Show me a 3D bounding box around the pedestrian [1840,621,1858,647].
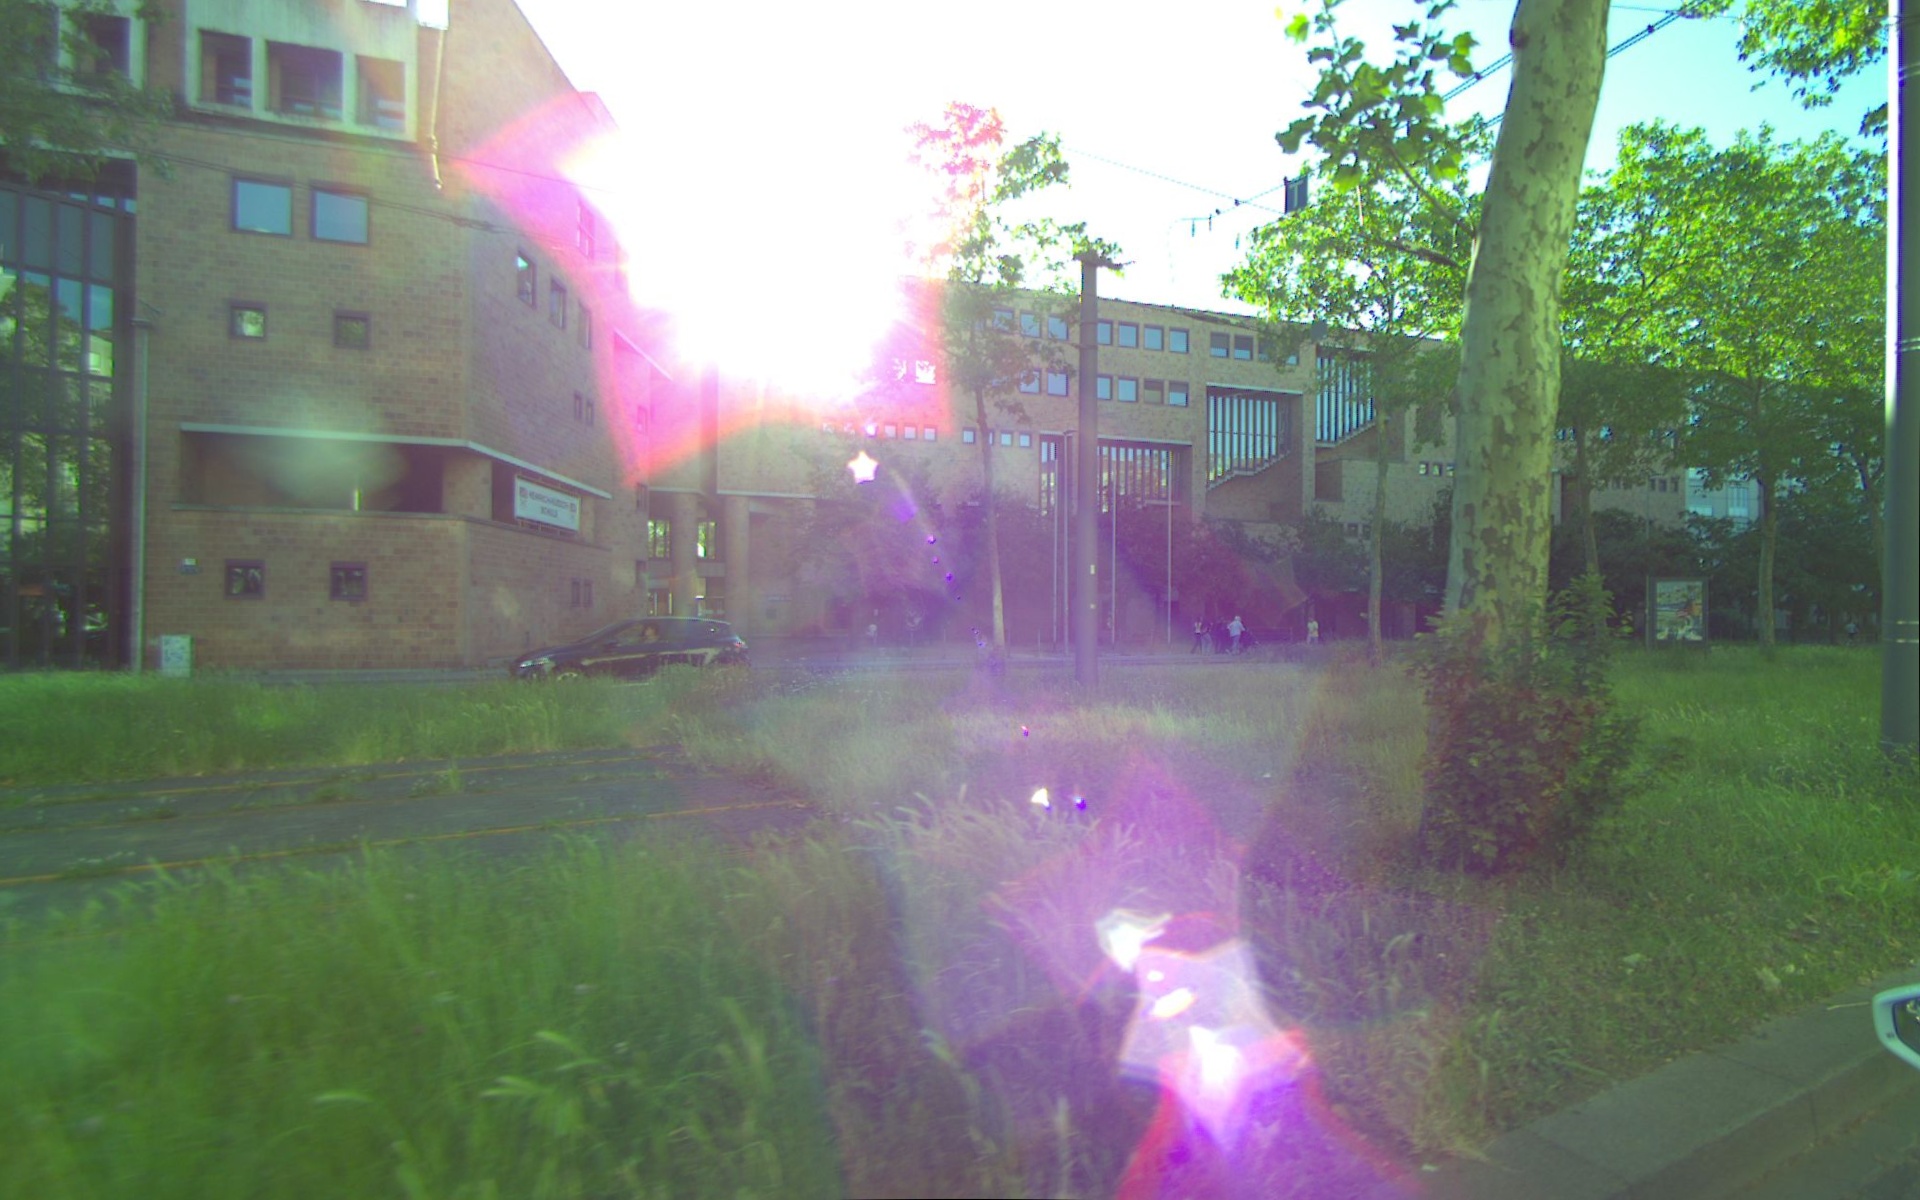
[{"bbox_3d":[59.792,2.283,67.548,0.639,1.763,0.726,1,-1,-25],"label":"pedestrian"}]

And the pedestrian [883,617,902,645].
[{"bbox_3d":[-3.073,1.407,45.816,0.741,1.267,0.666,0,-1,3],"label":"pedestrian"}]

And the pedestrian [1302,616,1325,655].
[{"bbox_3d":[15.265,1.520,43.395,0.750,1.638,0.659,1,-1,-38],"label":"pedestrian"}]

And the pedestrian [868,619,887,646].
[{"bbox_3d":[-3.832,1.510,46.464,0.625,1.214,0.659,1,-1,-38],"label":"pedestrian"}]

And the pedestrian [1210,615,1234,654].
[{"bbox_3d":[11.139,1.443,42.652,0.747,1.638,0.661,1,-1,-30],"label":"pedestrian"}]

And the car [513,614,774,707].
[{"bbox_3d":[-5.463,0.987,17.467,4.101,1.448,1.605,1,-1,-30],"label":"car"}]

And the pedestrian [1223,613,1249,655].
[{"bbox_3d":[11.539,1.428,42.018,0.787,1.745,0.661,1,-1,-30],"label":"pedestrian"}]

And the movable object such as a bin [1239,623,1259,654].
[{"bbox_3d":[12.204,1.629,42.411,0.747,1.296,0.354,1,-1,-30],"label":"movable object such as a bin"}]

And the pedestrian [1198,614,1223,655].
[{"bbox_3d":[10.266,1.413,41.128,0.747,1.638,0.661,1,-1,-30],"label":"pedestrian"}]

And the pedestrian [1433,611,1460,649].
[{"bbox_3d":[24.125,1.501,49.773,0.888,1.856,0.822,1,0,-24],"label":"pedestrian"}]

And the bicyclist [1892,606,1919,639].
[{"bbox_3d":[46.383,1.100,49.047,1.194,1.592,0.937,1,-1,-28],"label":"bicyclist"}]

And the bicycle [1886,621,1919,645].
[{"bbox_3d":[46.303,1.605,48.987,2.406,1.141,0.952,2,-1,-29],"label":"bicycle"}]

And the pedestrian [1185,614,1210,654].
[{"bbox_3d":[9.898,1.422,41.819,0.747,1.638,0.661,1,-1,-30],"label":"pedestrian"}]
